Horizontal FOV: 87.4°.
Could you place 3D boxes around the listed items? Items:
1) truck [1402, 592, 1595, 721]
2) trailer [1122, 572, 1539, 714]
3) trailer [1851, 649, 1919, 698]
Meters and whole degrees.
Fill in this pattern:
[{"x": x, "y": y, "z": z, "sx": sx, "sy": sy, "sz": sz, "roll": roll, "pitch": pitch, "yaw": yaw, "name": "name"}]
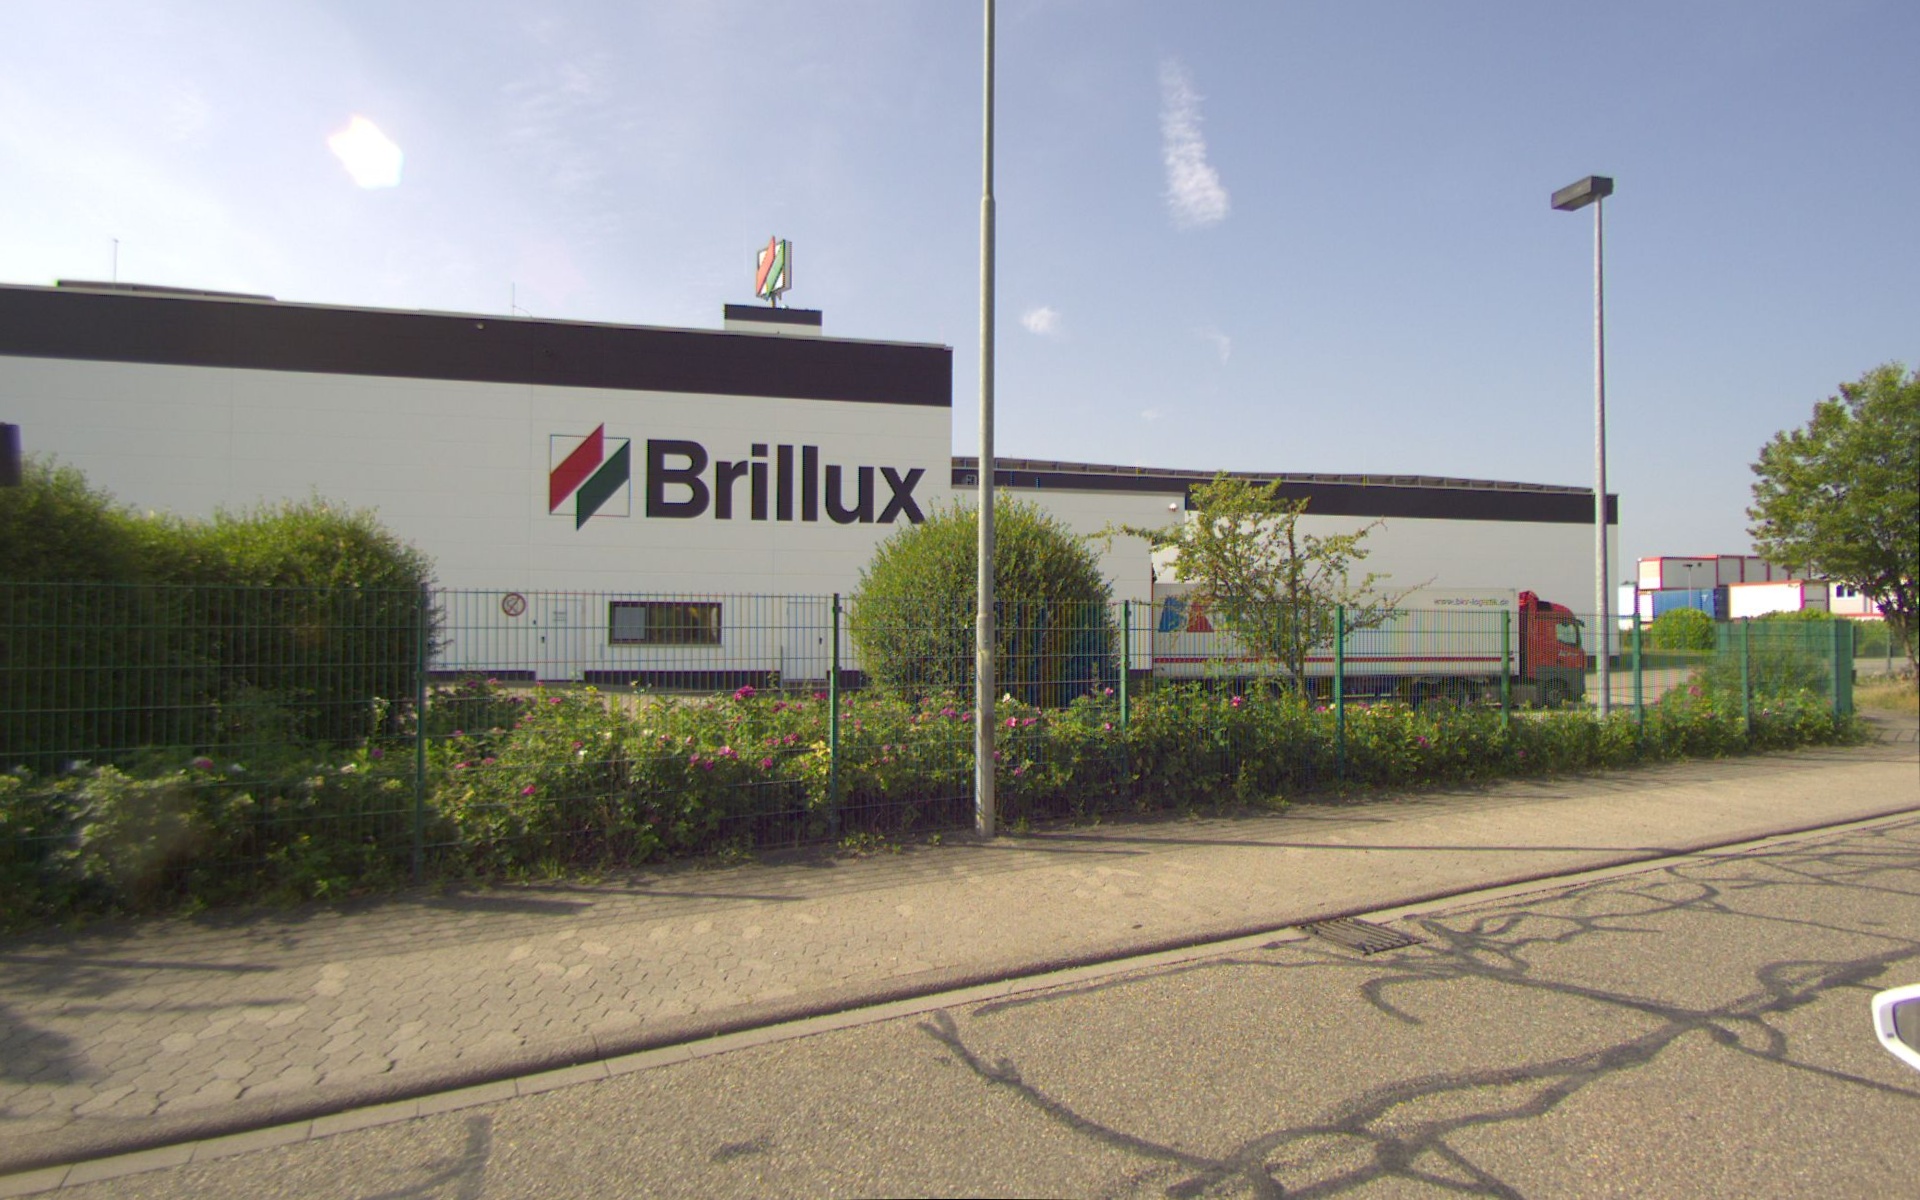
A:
[{"x": 18.411, "y": 1.925, "z": 34.429, "sx": 5.449, "sy": 4.125, "sz": 2.514, "roll": 2, "pitch": 0, "yaw": -13, "name": "truck"}, {"x": 12.256, "y": 1.481, "z": 33.054, "sx": 13.649, "sy": 4.095, "sz": 2.484, "roll": 2, "pitch": 0, "yaw": -13, "name": "trailer"}, {"x": 23.755, "y": 1.716, "z": 23.369, "sx": 6.629, "sy": 0.937, "sz": 2.535, "roll": 1, "pitch": 1, "yaw": -30, "name": "trailer"}]
